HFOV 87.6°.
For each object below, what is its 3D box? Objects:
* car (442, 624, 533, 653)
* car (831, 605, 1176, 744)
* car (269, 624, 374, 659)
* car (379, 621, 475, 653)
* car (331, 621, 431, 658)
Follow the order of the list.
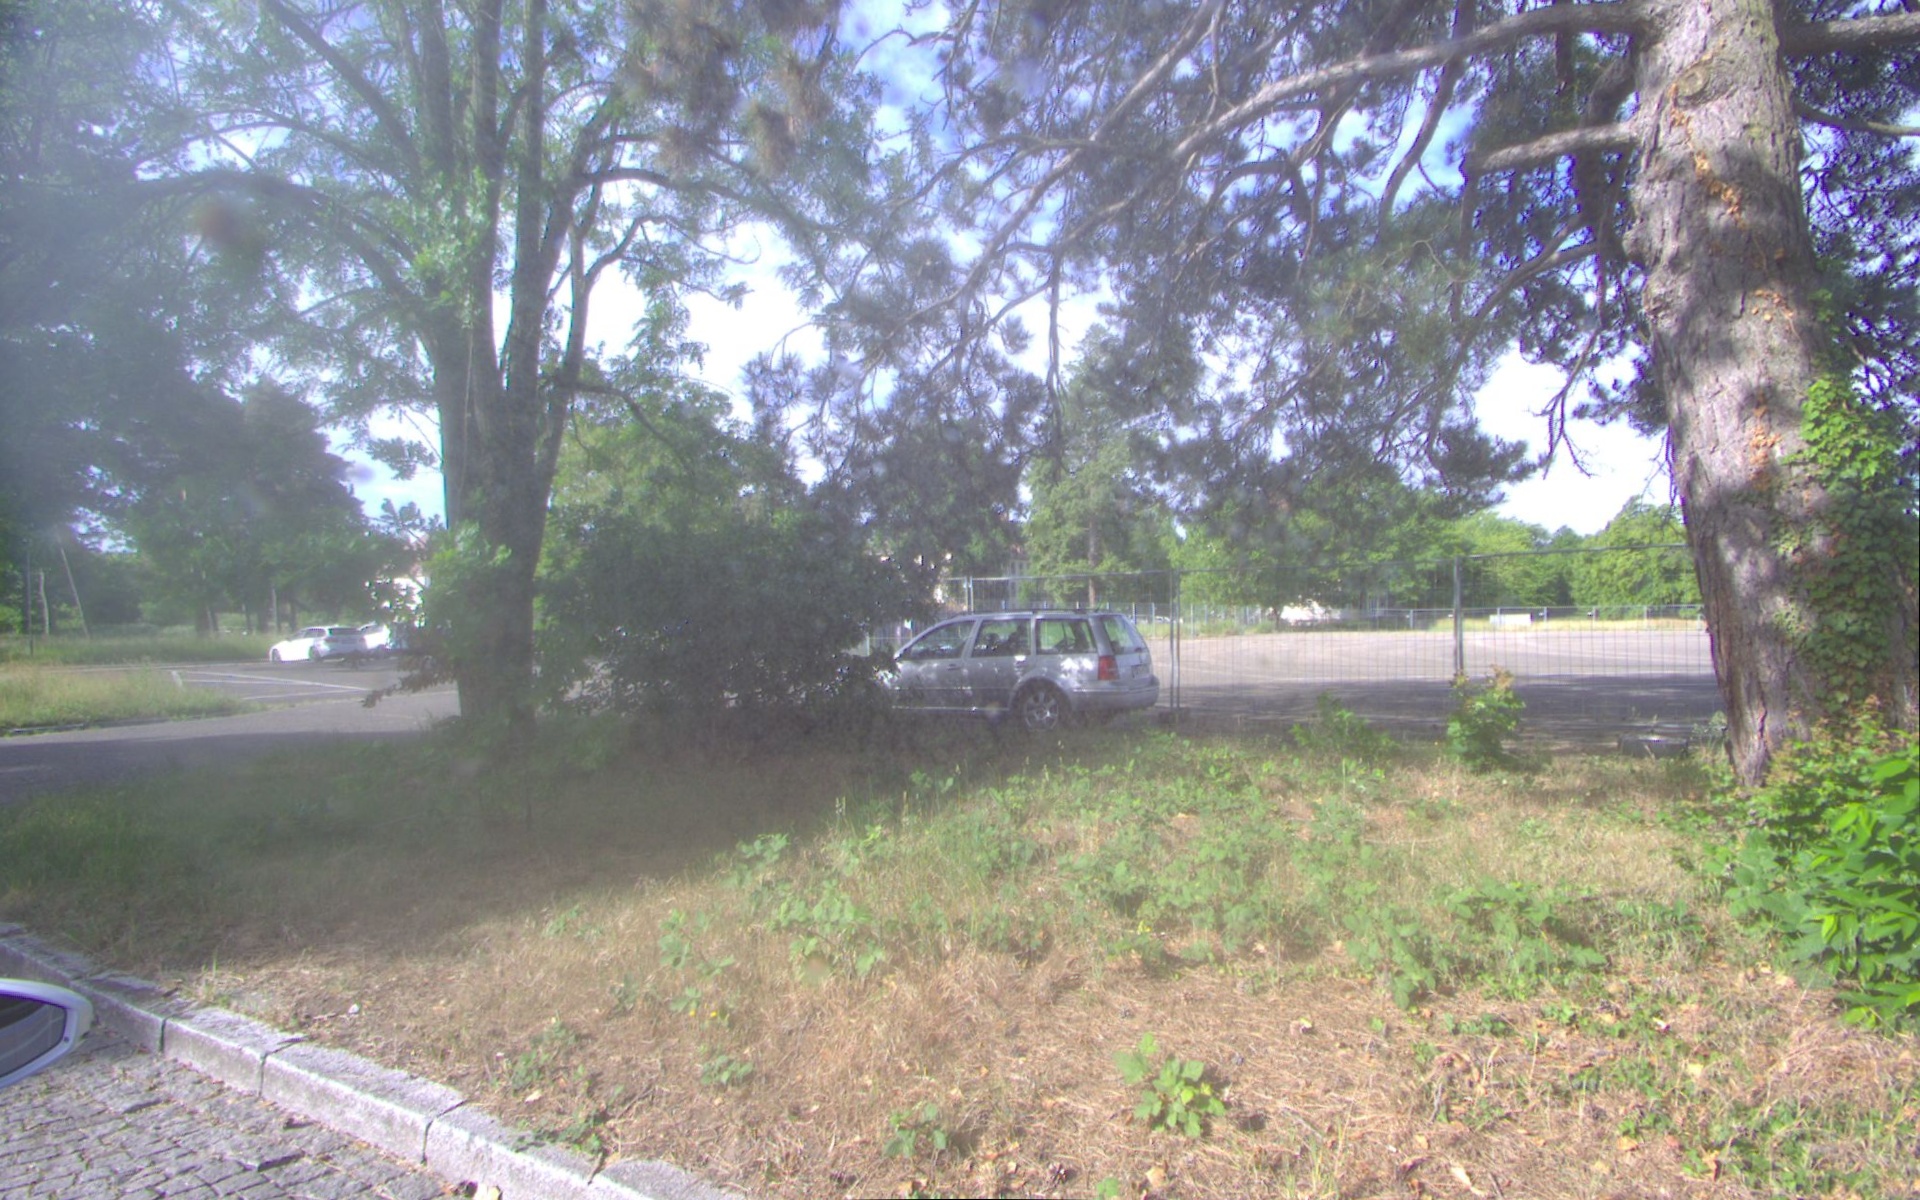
[{"bbox_3d":[-22.500,1.831,47.690,4.265,1.329,1.729,-1,0,28],"label":"car"},{"bbox_3d":[0.506,0.837,12.378,3.938,1.487,1.666,-1,-1,28],"label":"car"},{"bbox_3d":[-25.825,1.670,40.491,4.265,1.329,1.729,-1,-1,28],"label":"car"},{"bbox_3d":[-23.938,1.638,44.933,4.265,1.329,1.729,-1,0,28],"label":"car"},{"bbox_3d":[-24.780,1.671,42.806,4.265,1.496,1.729,-1,-1,28],"label":"car"}]
